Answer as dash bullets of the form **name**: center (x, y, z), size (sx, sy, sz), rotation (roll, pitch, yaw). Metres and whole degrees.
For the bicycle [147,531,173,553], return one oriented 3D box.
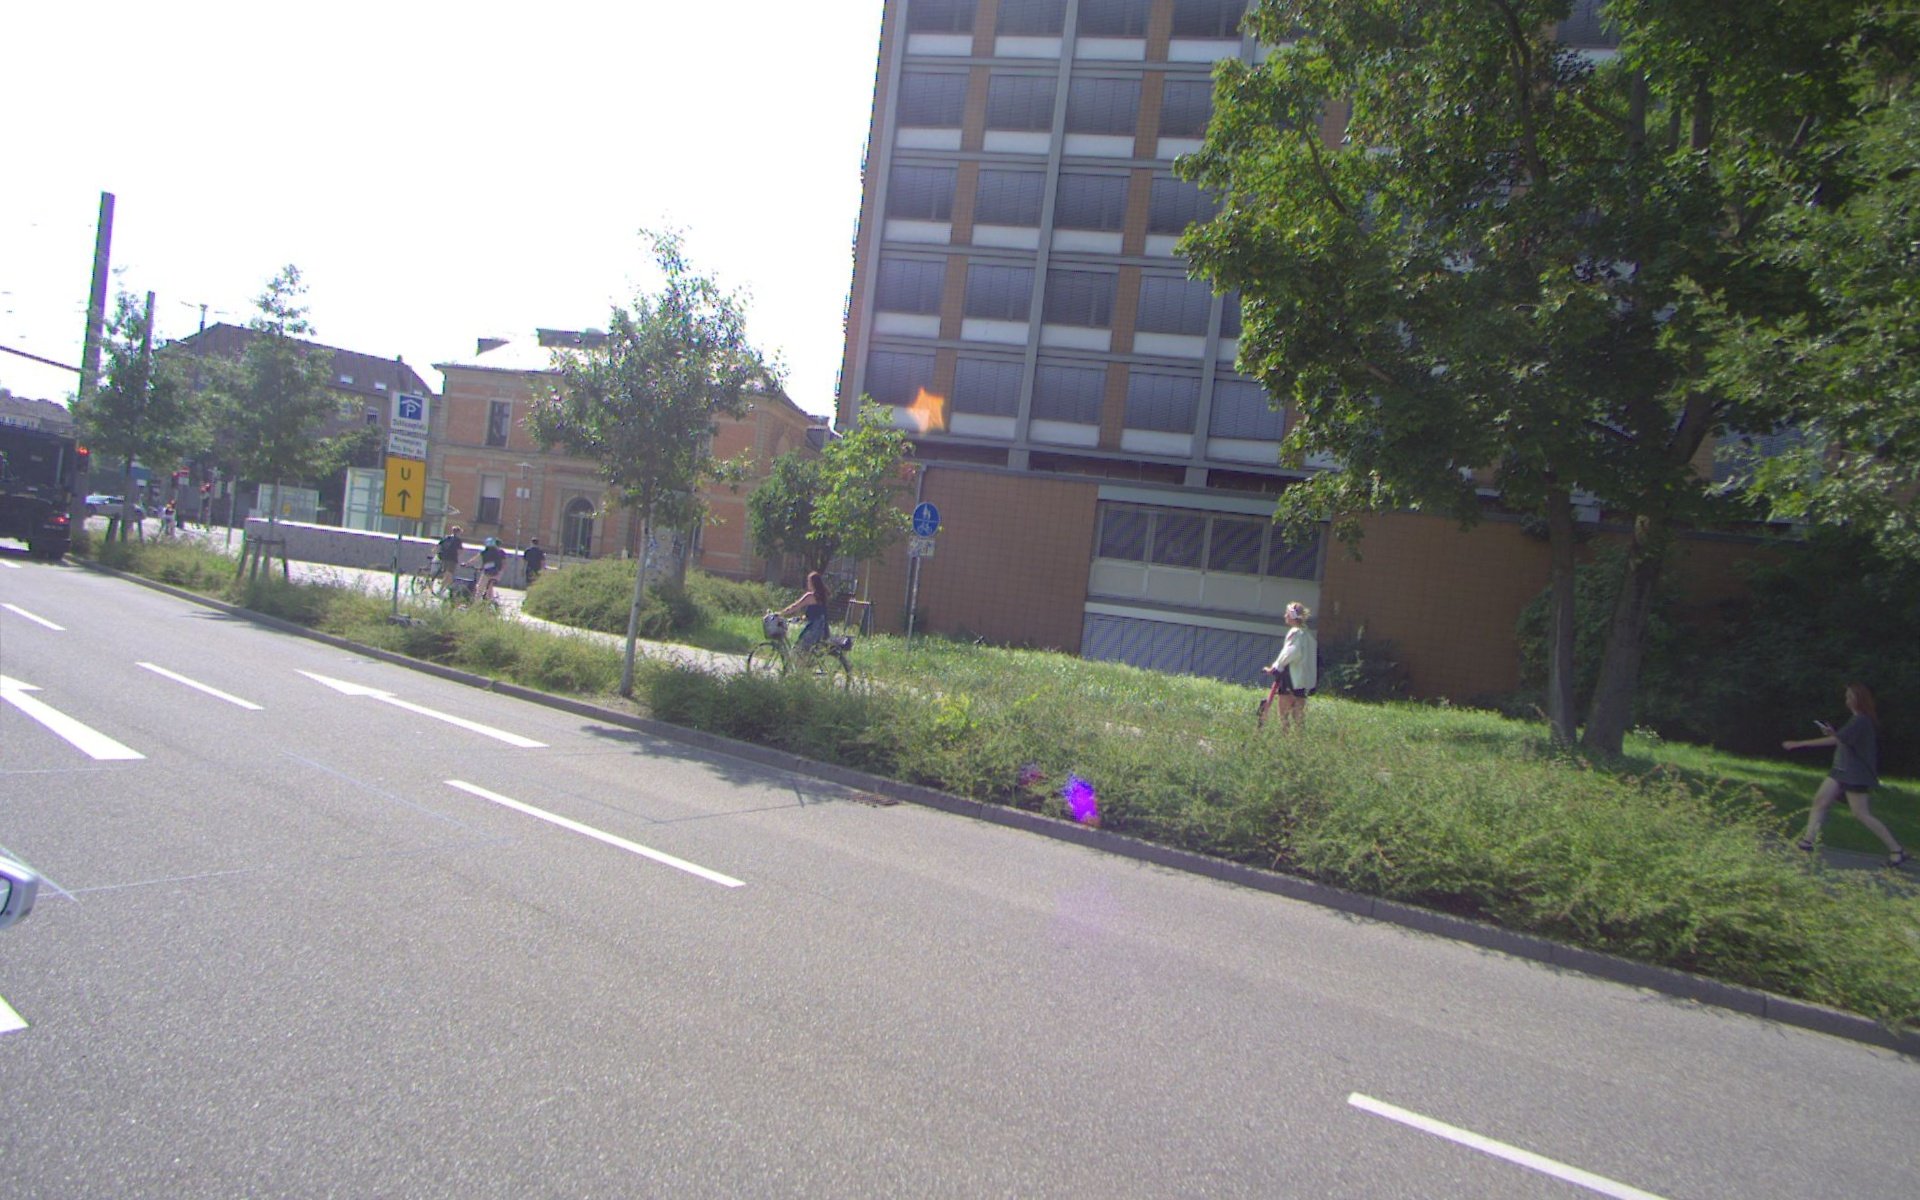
- **bicycle**: center (-35.056, -2.547, 44.094), size (0.672, 0.786, 2.101), rotation (6, 1, -43)

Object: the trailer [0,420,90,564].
- **trailer**: center (-23.957, -2.799, 25.010), size (6.237, 3.043, 2.461), rotation (7, -1, 42)

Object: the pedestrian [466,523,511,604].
- **pedestrian**: center (-12.295, -0.944, 26.224), size (0.773, 1.998, 0.746), rotation (6, 1, -35)

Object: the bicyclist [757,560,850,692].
- **bicyclist**: center (-2.069, 0.336, 13.293), size (0.830, 1.620, 0.690), rotation (7, 3, 31)

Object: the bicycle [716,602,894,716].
- **bicycle**: center (-2.080, 0.742, 13.298), size (2.331, 1.170, 0.694), rotation (7, 3, 31)

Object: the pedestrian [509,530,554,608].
- **pedestrian**: center (-11.516, -0.834, 27.031), size (0.773, 1.998, 0.746), rotation (6, 1, -35)

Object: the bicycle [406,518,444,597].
- **bicycle**: center (-13.603, -1.096, 25.565), size (0.453, 1.883, 1.348), rotation (6, 1, -38)

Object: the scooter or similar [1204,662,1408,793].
- **scooter or similar**: center (3.841, 1.375, 11.286), size (1.973, 1.074, 0.556), rotation (9, 3, 37)

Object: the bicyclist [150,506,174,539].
- **bicyclist**: center (-34.927, -3.399, 44.042), size (0.672, 1.336, 0.675), rotation (6, 1, -44)

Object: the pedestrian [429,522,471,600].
- **pedestrian**: center (-13.183, -1.013, 25.982), size (0.656, 1.883, 0.784), rotation (6, 2, -38)

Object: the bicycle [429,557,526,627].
- **bicycle**: center (-9.167, -0.154, 19.091), size (1.970, 1.073, 0.557), rotation (8, 1, 31)

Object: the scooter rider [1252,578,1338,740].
- **scooter rider**: center (3.781, 0.656, 11.347), size (0.531, 1.723, 0.669), rotation (9, 4, 36)

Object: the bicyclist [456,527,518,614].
- **bicyclist**: center (-8.921, -0.557, 18.971), size (0.790, 1.515, 0.549), rotation (8, 1, 30)

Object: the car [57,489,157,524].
- **car**: center (-53.085, -5.796, 62.725), size (1.909, 1.417, 4.589), rotation (7, 0, 7)

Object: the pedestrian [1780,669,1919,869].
- **pedestrian**: center (8.706, 1.592, 9.763), size (0.864, 1.727, 0.706), rotation (7, 3, 29)
